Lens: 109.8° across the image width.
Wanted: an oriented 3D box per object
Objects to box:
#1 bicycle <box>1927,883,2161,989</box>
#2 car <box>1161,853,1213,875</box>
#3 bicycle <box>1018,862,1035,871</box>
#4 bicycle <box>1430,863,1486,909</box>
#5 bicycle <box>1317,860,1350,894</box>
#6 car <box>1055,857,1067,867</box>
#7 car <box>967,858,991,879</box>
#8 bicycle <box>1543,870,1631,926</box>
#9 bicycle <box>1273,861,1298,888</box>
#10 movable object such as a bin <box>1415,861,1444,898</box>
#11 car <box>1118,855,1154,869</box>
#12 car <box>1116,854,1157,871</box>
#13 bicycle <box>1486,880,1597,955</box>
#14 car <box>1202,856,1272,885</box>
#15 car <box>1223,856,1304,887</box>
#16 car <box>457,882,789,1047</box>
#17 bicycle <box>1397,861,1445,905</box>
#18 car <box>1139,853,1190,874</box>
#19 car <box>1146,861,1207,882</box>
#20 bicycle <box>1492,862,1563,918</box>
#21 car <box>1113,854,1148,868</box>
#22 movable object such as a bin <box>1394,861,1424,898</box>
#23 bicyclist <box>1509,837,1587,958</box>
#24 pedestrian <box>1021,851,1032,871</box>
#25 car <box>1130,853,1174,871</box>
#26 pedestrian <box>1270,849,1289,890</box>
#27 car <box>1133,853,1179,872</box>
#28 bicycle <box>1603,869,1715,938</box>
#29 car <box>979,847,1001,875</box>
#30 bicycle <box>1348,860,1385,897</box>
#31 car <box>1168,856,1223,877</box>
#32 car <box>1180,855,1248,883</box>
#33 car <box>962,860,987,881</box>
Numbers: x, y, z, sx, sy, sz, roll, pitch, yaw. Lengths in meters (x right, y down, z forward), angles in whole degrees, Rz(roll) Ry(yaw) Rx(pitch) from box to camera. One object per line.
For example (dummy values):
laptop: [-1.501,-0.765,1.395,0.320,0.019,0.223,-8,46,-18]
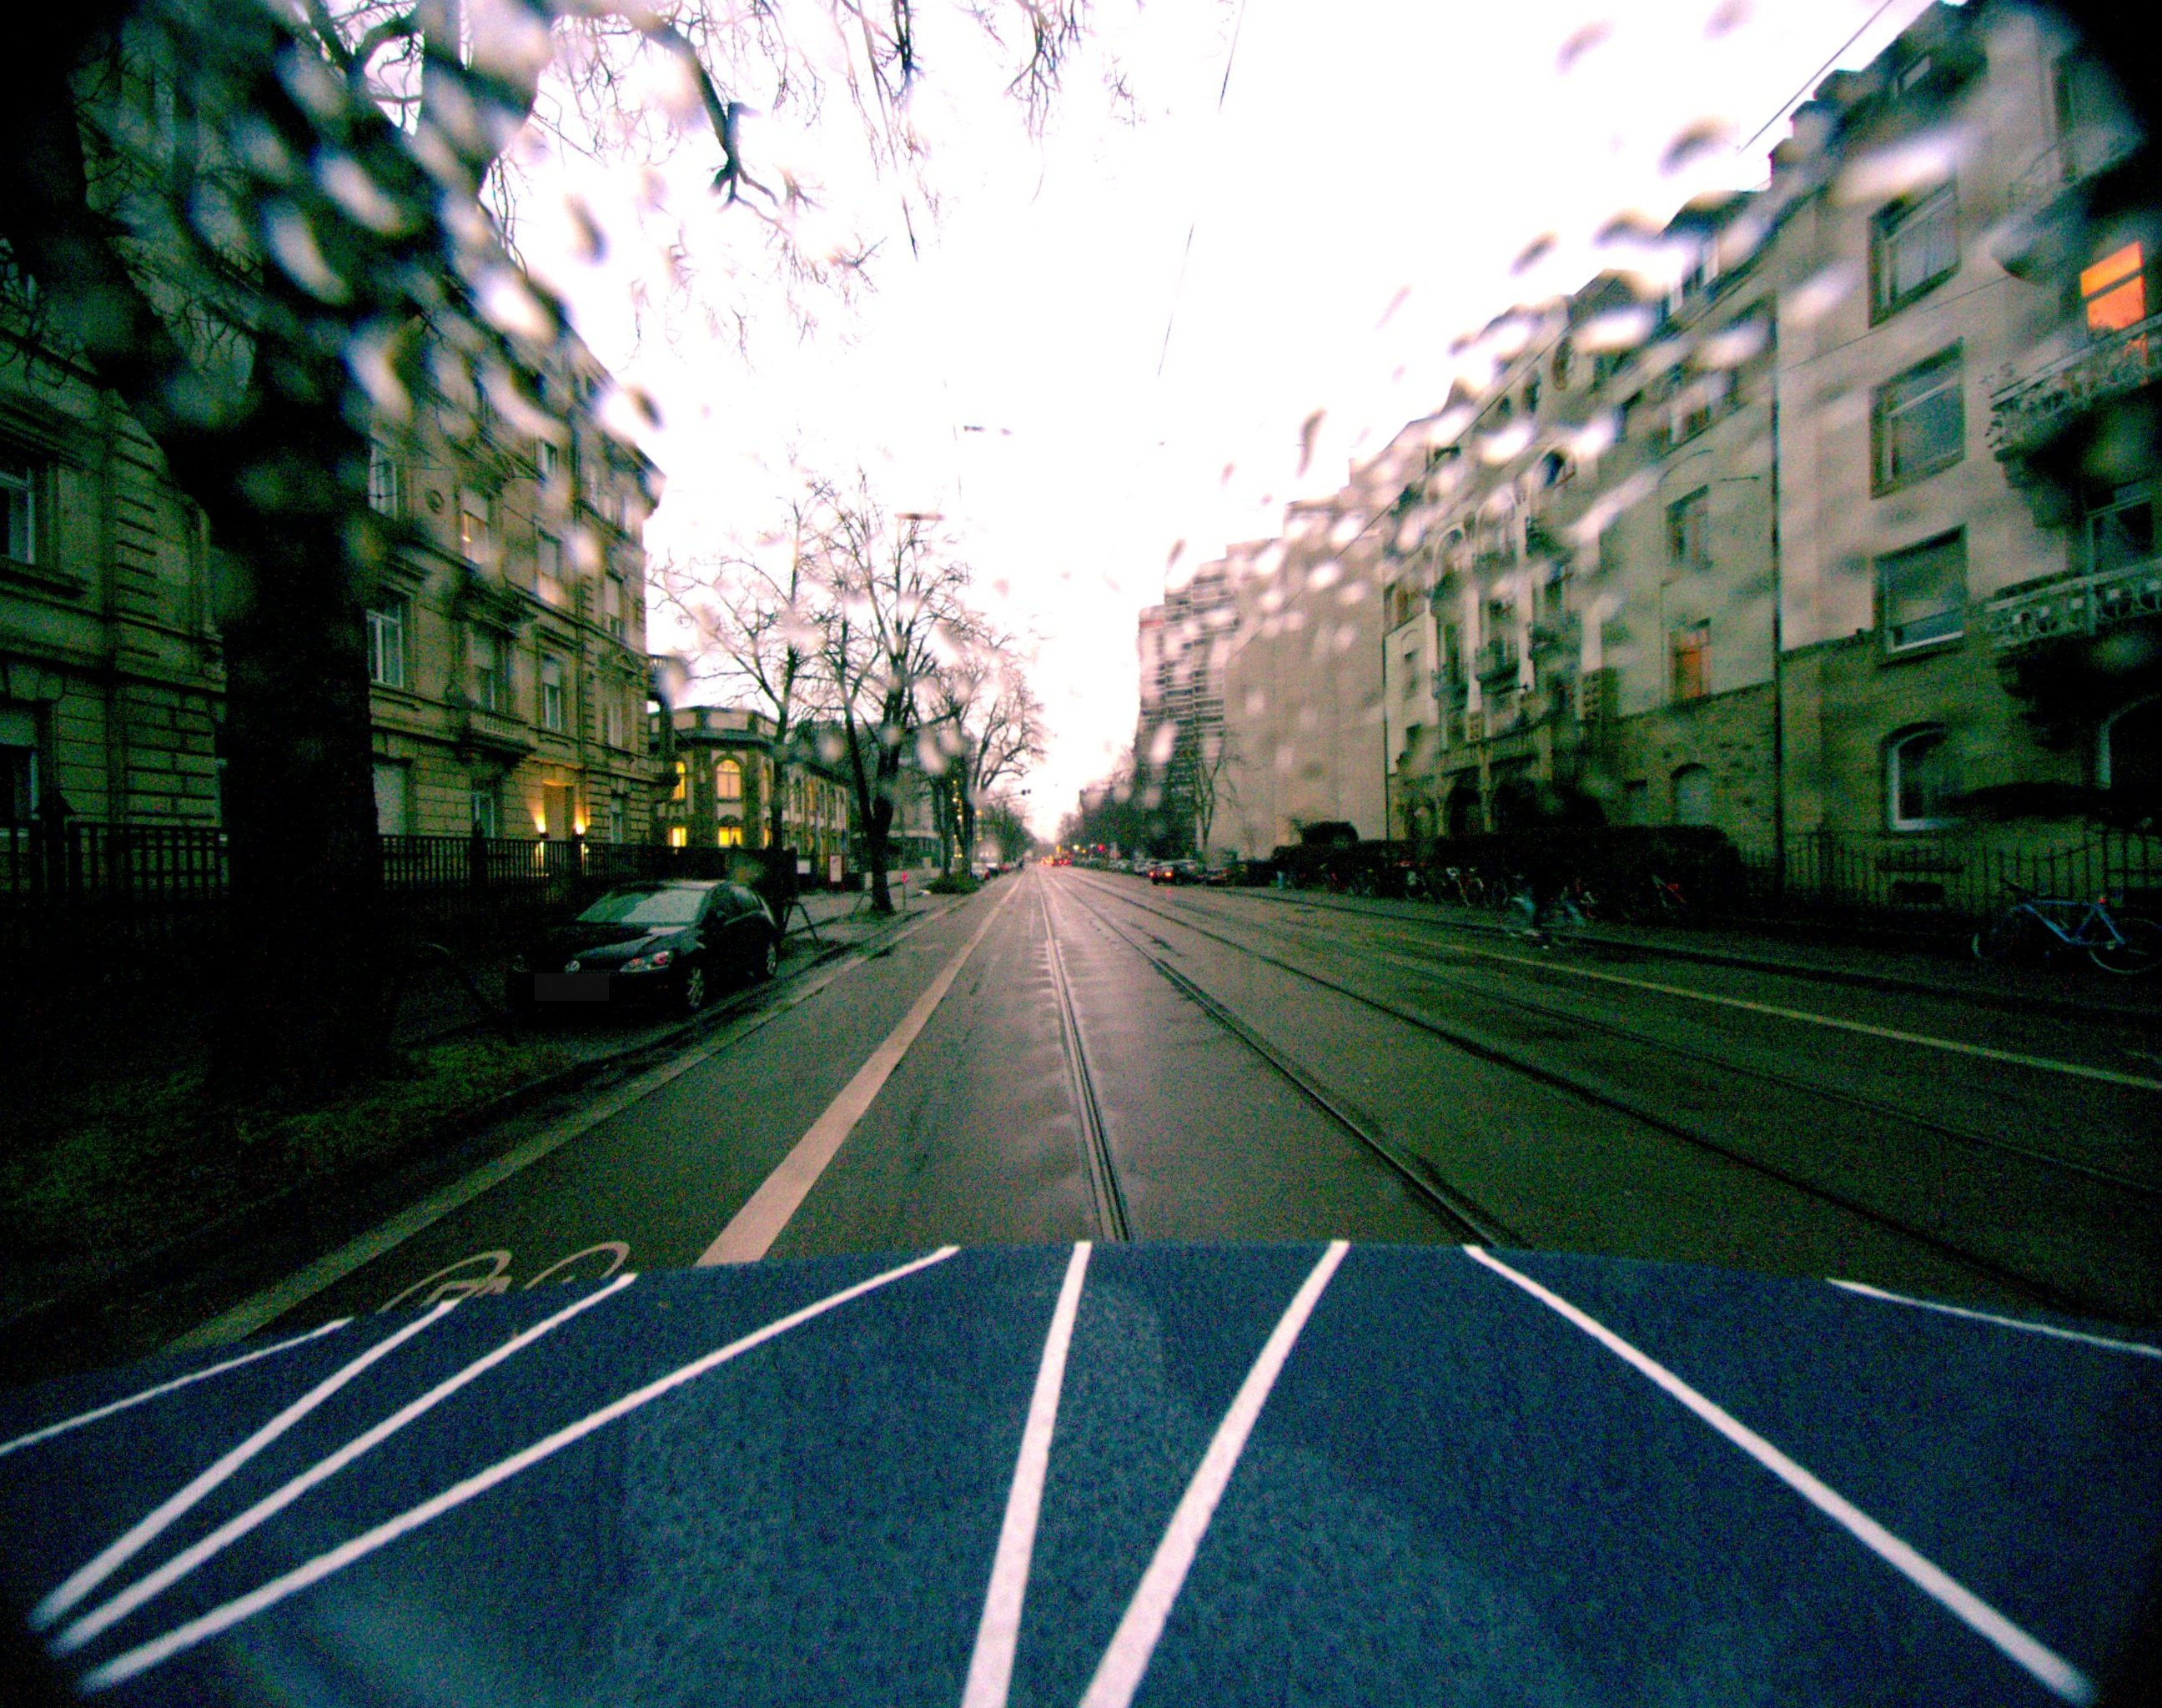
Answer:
bicycle: [10.720,0.862,8.512,0.625,0.997,1.662,-1,0,-1]
car: [8.431,0.805,60.565,4.008,1.586,1.864,-2,0,-40]
bicycle: [-6.241,1.416,87.689,1.918,0.986,0.858,-2,1,-5]
bicycle: [9.980,0.820,20.153,0.625,1.157,1.662,-1,0,-1]
bicycle: [9.483,0.853,28.580,0.625,1.205,1.662,-1,0,-1]
car: [-4.336,1.744,163.901,2.239,2.002,4.458,-2,1,-5]
car: [-8.974,1.226,67.061,2.000,1.672,3.997,-2,1,-6]
bicycle: [10.380,0.876,15.657,0.625,1.059,1.726,-1,0,-1]
bicycle: [9.077,0.910,33.821,0.625,1.157,1.662,-2,0,-1]
movable object such as a bin: [11.261,0.810,24.571,0.625,1.157,0.674,-1,0,-1]
car: [6.511,0.948,89.378,4.008,1.586,1.864,-2,0,-40]
car: [5.730,0.901,77.872,4.008,1.586,1.864,-2,0,-40]
bicycle: [7.568,1.007,12.606,0.625,1.086,1.947,-1,0,-1]
car: [8.853,0.903,43.012,4.008,1.477,1.760,-2,0,-40]
car: [9.729,0.924,40.490,4.006,1.485,1.865,-2,0,-32]
car: [-5.103,1.123,9.243,1.762,1.437,4.156,1,-1,-4]
bicycle: [9.937,0.826,22.257,0.625,1.205,1.662,-1,0,-1]
car: [6.938,0.801,63.032,4.008,1.586,1.864,-2,0,-40]
car: [5.874,1.052,46.689,3.673,1.245,1.707,0,0,-41]
bicycle: [10.204,0.796,17.443,0.625,1.205,1.662,-1,0,-1]
car: [5.931,0.799,91.463,4.008,1.586,1.864,-2,0,-40]
movable object such as a bin: [10.578,0.806,24.544,0.659,1.157,0.674,-1,0,-1]
bicyclist: [7.574,0.679,12.355,0.625,1.865,0.991,-1,0,-1]
pedestrian: [-6.262,0.787,87.676,1.118,2.246,0.952,-2,1,-6]
car: [6.798,0.775,72.687,4.008,1.586,1.864,-2,0,-40]
pedestrian: [8.420,0.646,32.259,0.574,1.715,0.644,-3,2,1]
car: [6.888,0.793,69.543,4.008,1.586,1.864,-2,0,-40]
bicycle: [10.381,0.850,13.727,0.625,1.119,1.783,-1,0,-1]
car: [-9.204,0.647,76.973,2.094,2.622,5.446,-2,1,-6]
bicycle: [9.796,0.824,26.104,0.625,1.205,1.662,-1,0,-1]
car: [8.596,0.911,56.855,4.008,1.440,1.864,-2,0,-40]
car: [8.095,0.890,46.066,4.008,1.586,1.864,-2,0,-40]
car: [-7.962,1.218,56.995,1.628,1.399,3.997,-2,1,-6]
